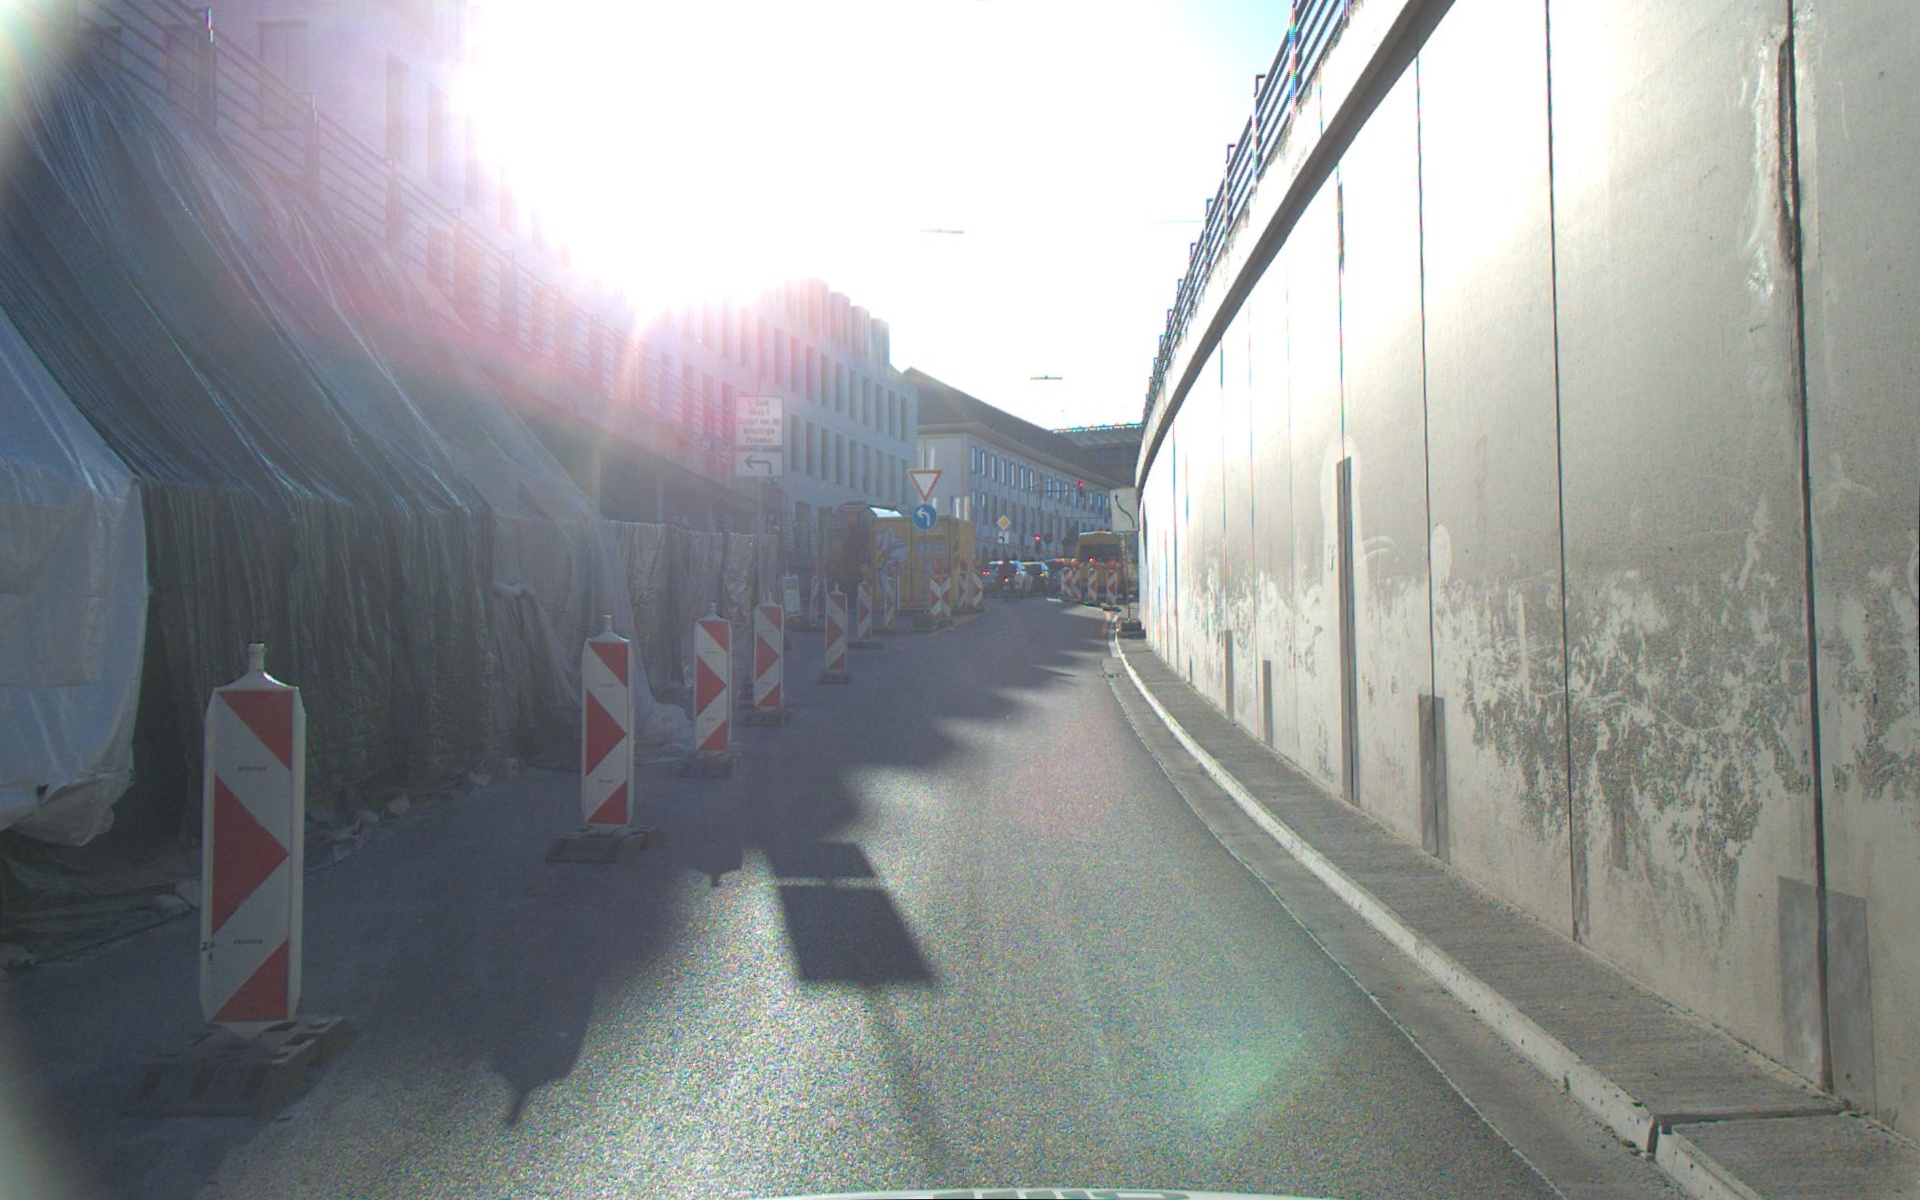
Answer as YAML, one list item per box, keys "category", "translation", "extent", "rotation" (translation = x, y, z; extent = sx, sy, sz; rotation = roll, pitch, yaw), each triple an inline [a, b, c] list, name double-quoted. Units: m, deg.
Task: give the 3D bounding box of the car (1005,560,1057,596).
- category: "car"
  translation: [3.213, -0.959, 73.948]
  extent: [1.782, 1.560, 4.003]
  rotation: [1, 0, 11]

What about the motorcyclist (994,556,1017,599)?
- category: "motorcyclist"
  translation: [1.675, -0.815, 60.654]
  extent: [0.787, 1.531, 0.777]
  rotation: [0, -3, 8]

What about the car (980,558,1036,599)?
- category: "car"
  translation: [1.980, -0.852, 67.456]
  extent: [1.738, 1.632, 4.003]
  rotation: [1, 0, 10]

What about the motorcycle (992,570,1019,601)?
- category: "motorcycle"
  translation: [1.681, -0.531, 60.729]
  extent: [0.755, 1.010, 2.185]
  rotation: [0, -3, 8]

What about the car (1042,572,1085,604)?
- category: "car"
  translation: [5.206, -0.602, 82.687]
  extent: [1.817, 1.560, 4.003]
  rotation: [1, 0, 8]

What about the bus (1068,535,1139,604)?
- category: "bus"
  translation: [5.626, -1.174, 64.334]
  extent: [2.177, 2.601, 4.431]
  rotation: [0, 1, 13]
